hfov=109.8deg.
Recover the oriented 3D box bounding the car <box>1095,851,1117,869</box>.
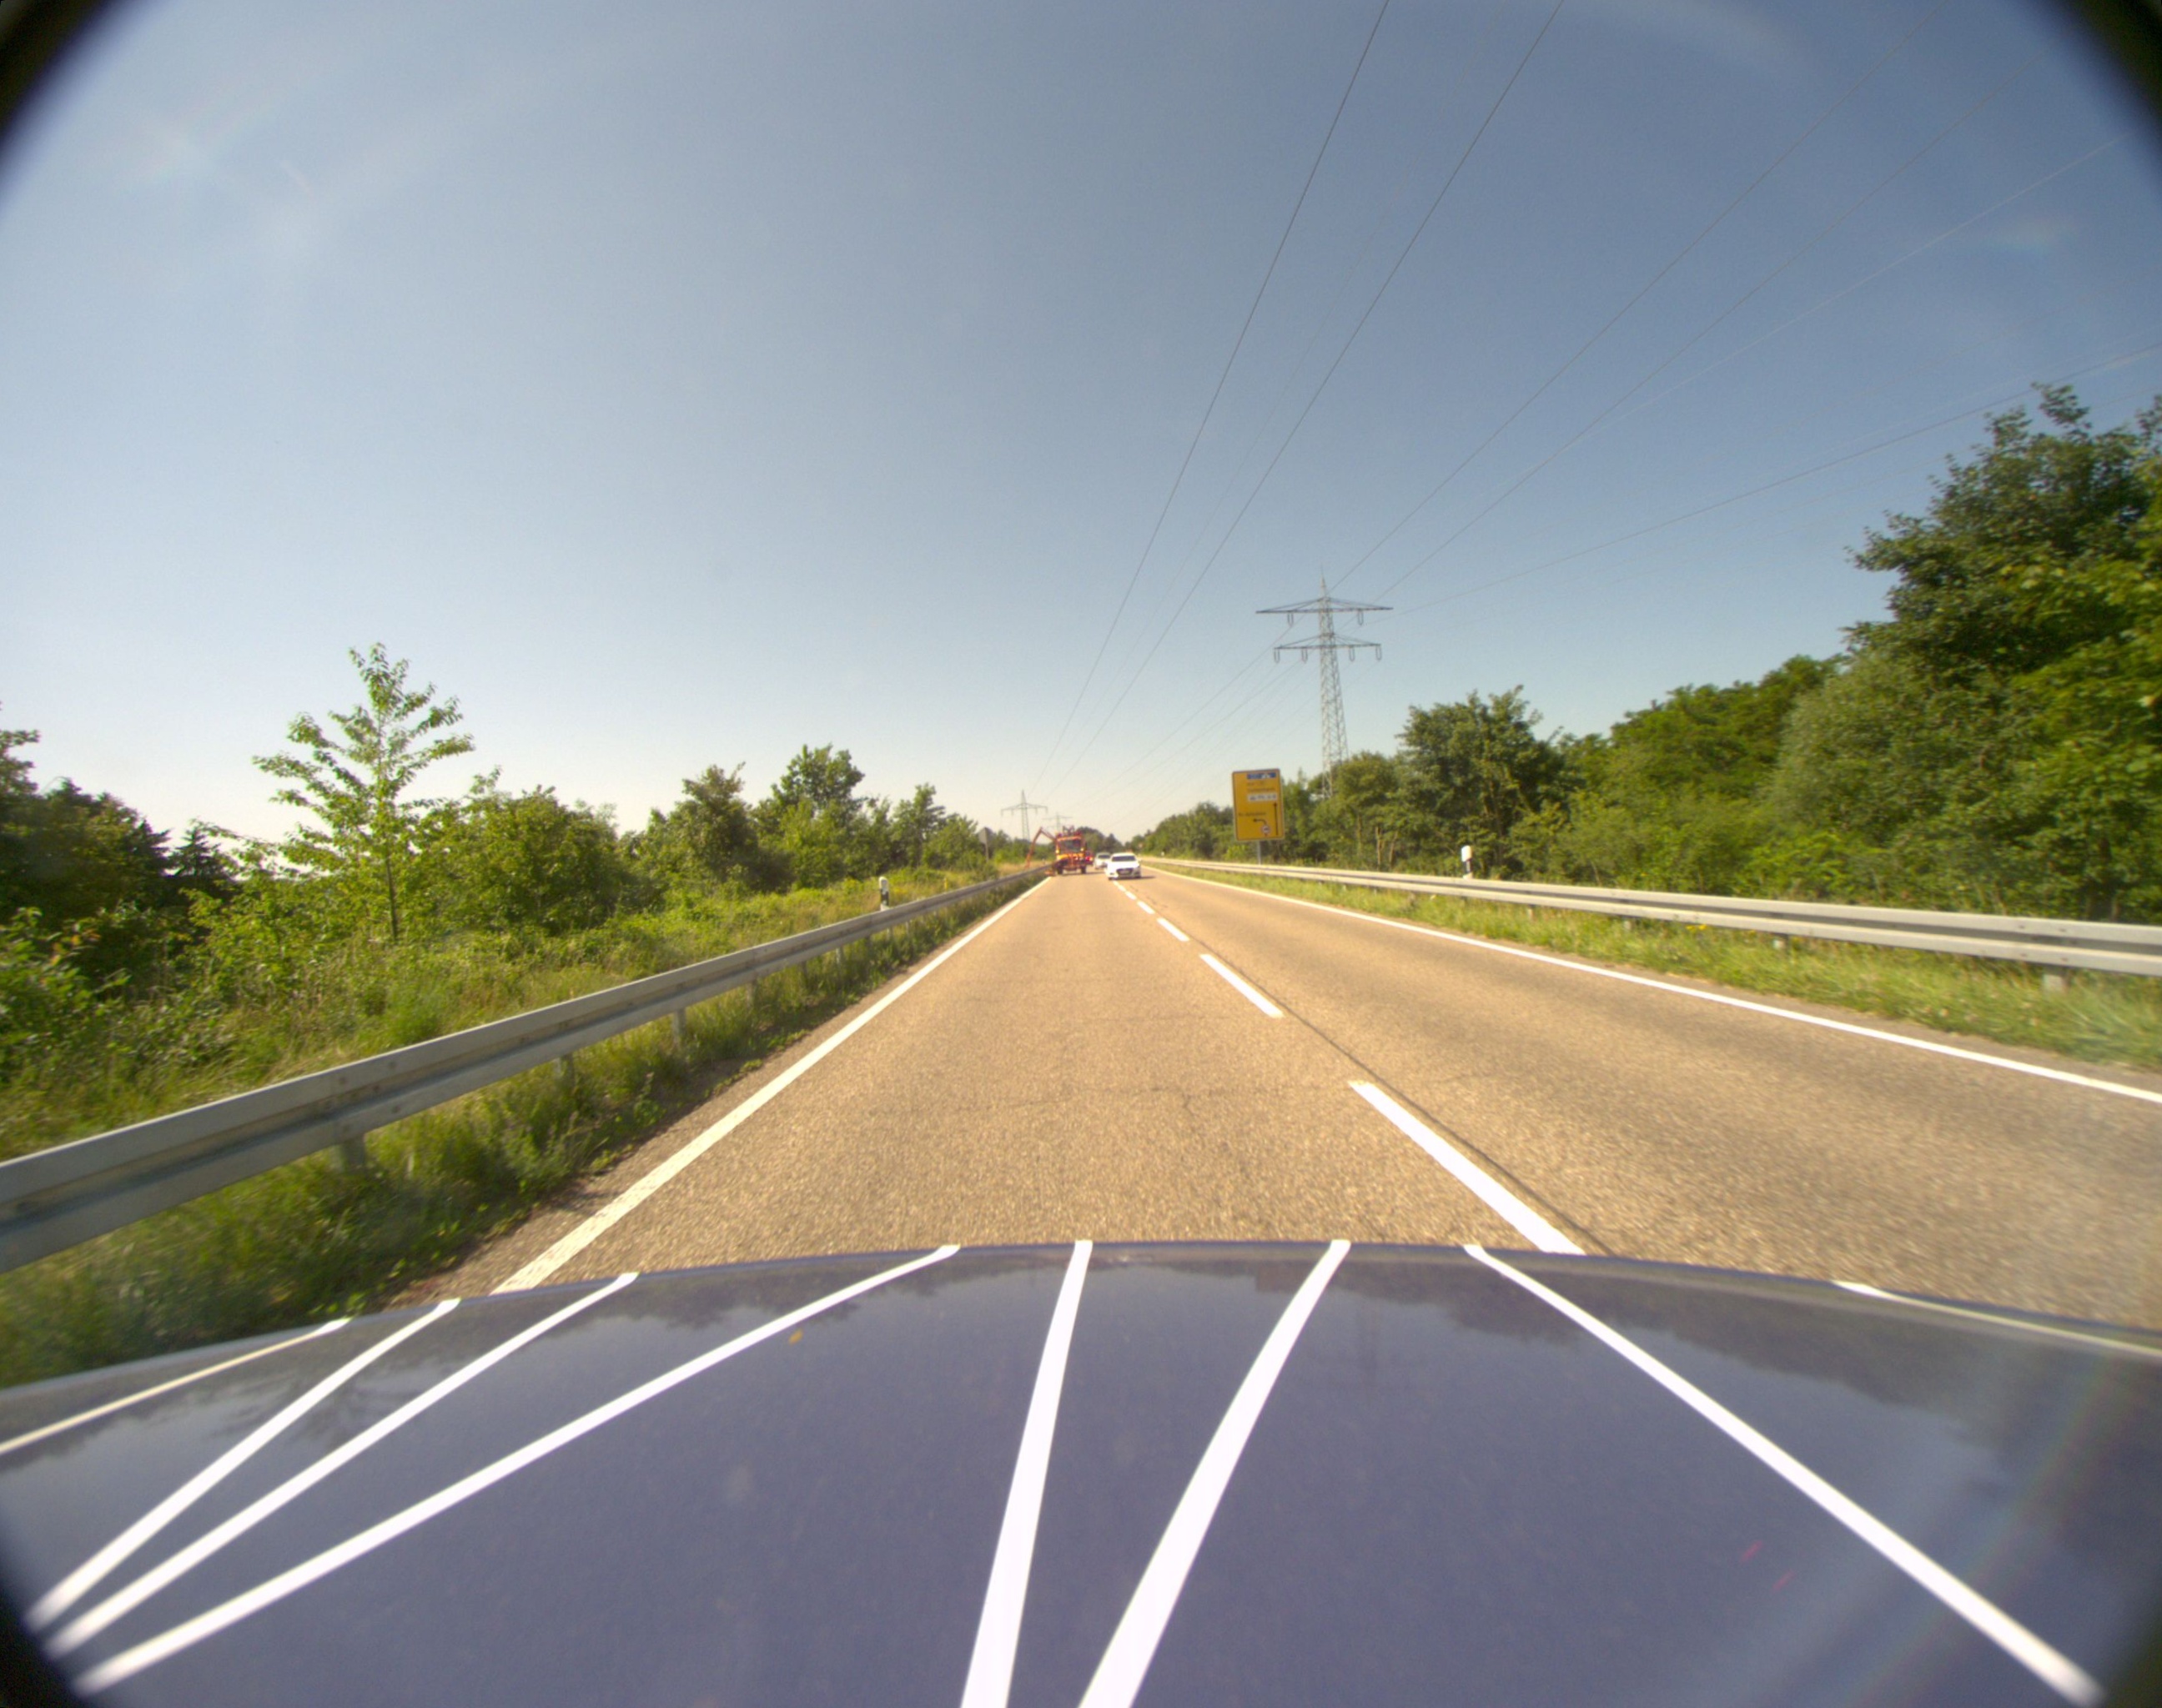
[{"bbox_3d":[2.390,0.538,73.243,1.923,1.540,4.793,-3,0,0],"label":"car"}]

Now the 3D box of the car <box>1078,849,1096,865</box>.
[{"bbox_3d":[0.799,0.343,99.576,2.126,1.934,5.018,-3,0,-1],"label":"car"}]

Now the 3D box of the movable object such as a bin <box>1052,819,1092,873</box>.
[{"bbox_3d":[-0.648,-0.581,60.841,2.760,3.817,9.444,-3,0,0],"label":"movable object such as a bin"}]

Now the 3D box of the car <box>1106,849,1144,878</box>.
[{"bbox_3d":[2.471,0.510,43.762,1.923,1.496,4.793,-3,0,0],"label":"car"}]
